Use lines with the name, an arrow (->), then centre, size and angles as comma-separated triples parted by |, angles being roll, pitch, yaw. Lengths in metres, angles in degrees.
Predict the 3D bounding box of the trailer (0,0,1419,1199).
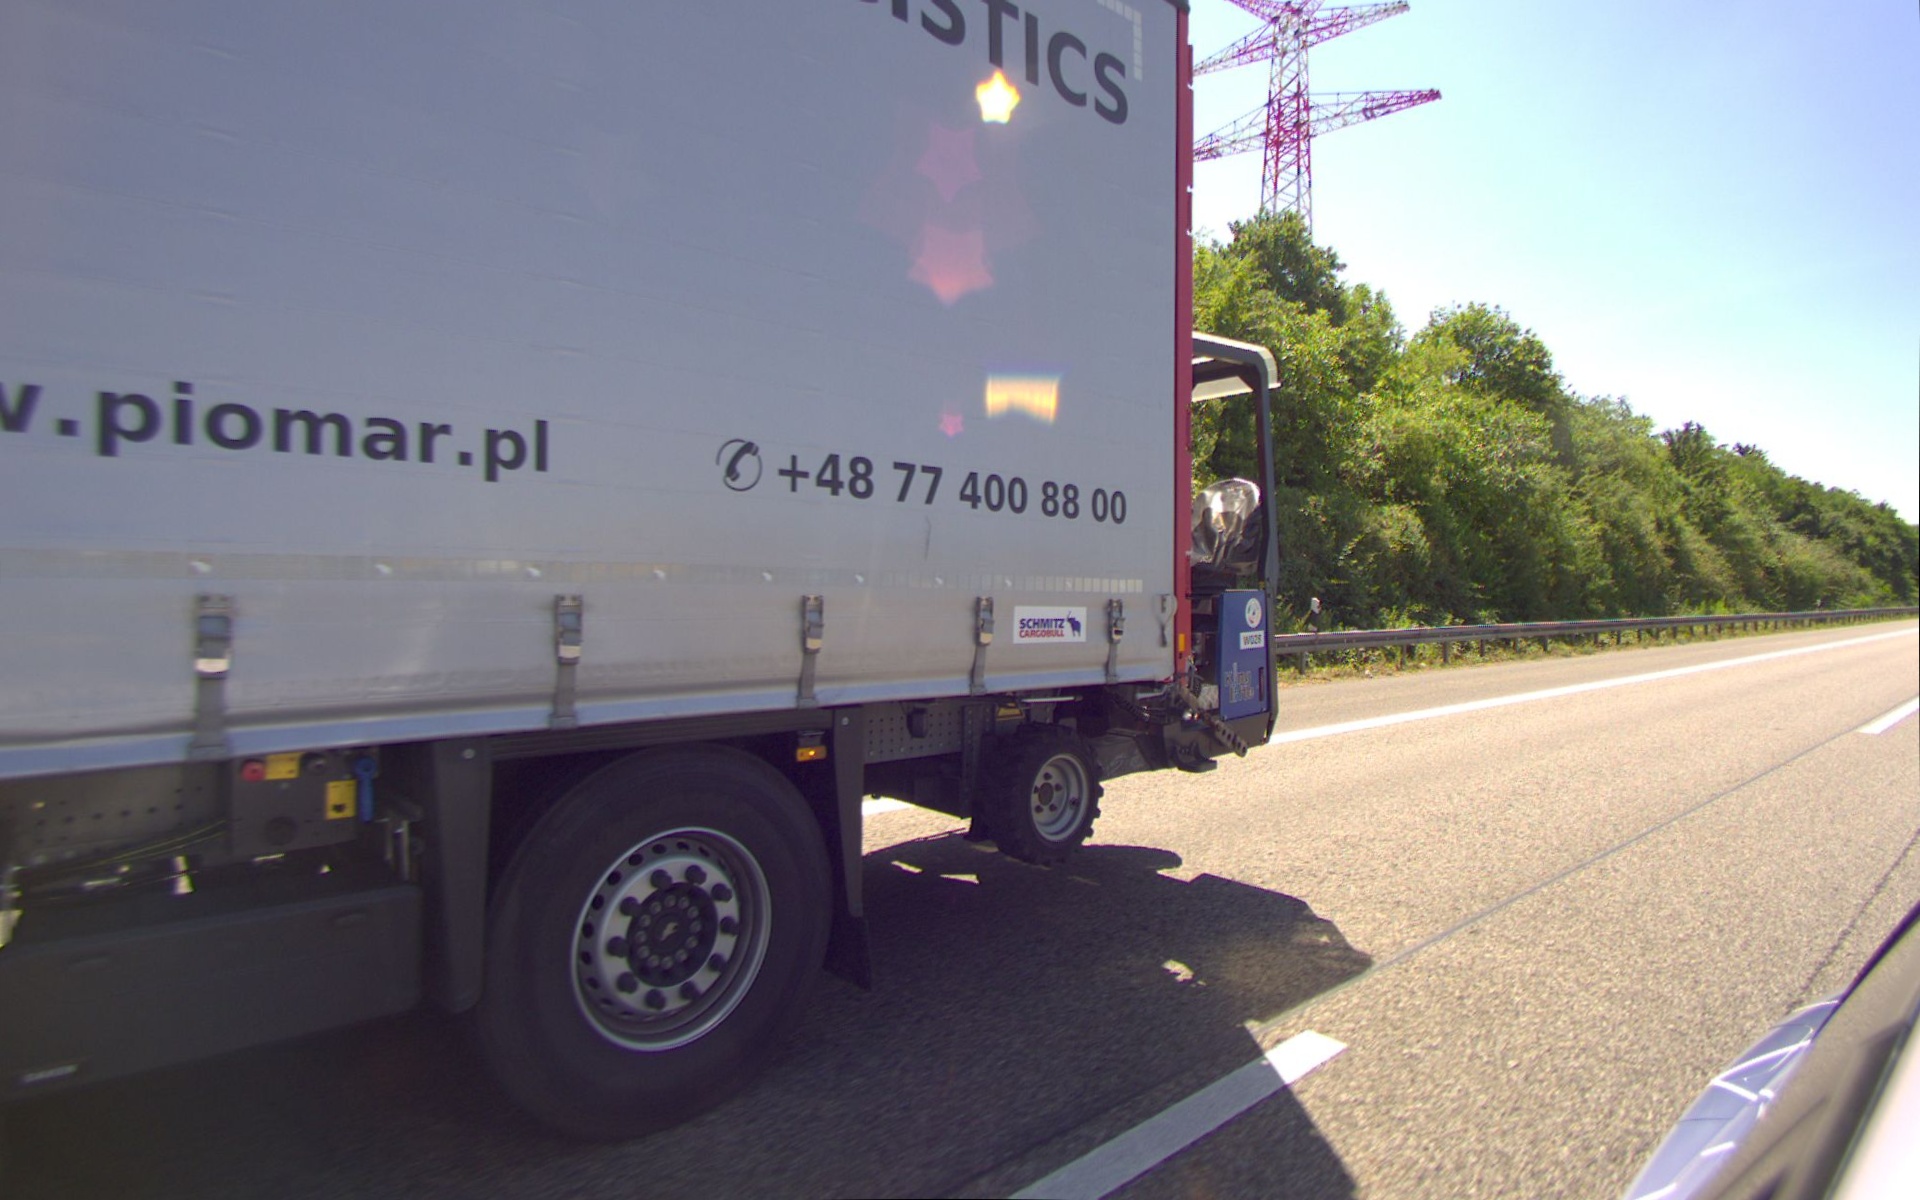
trailer -> -3.632, -0.560, 1.681 | 13.998, 3.958, 2.494 | -1, 1, -41
